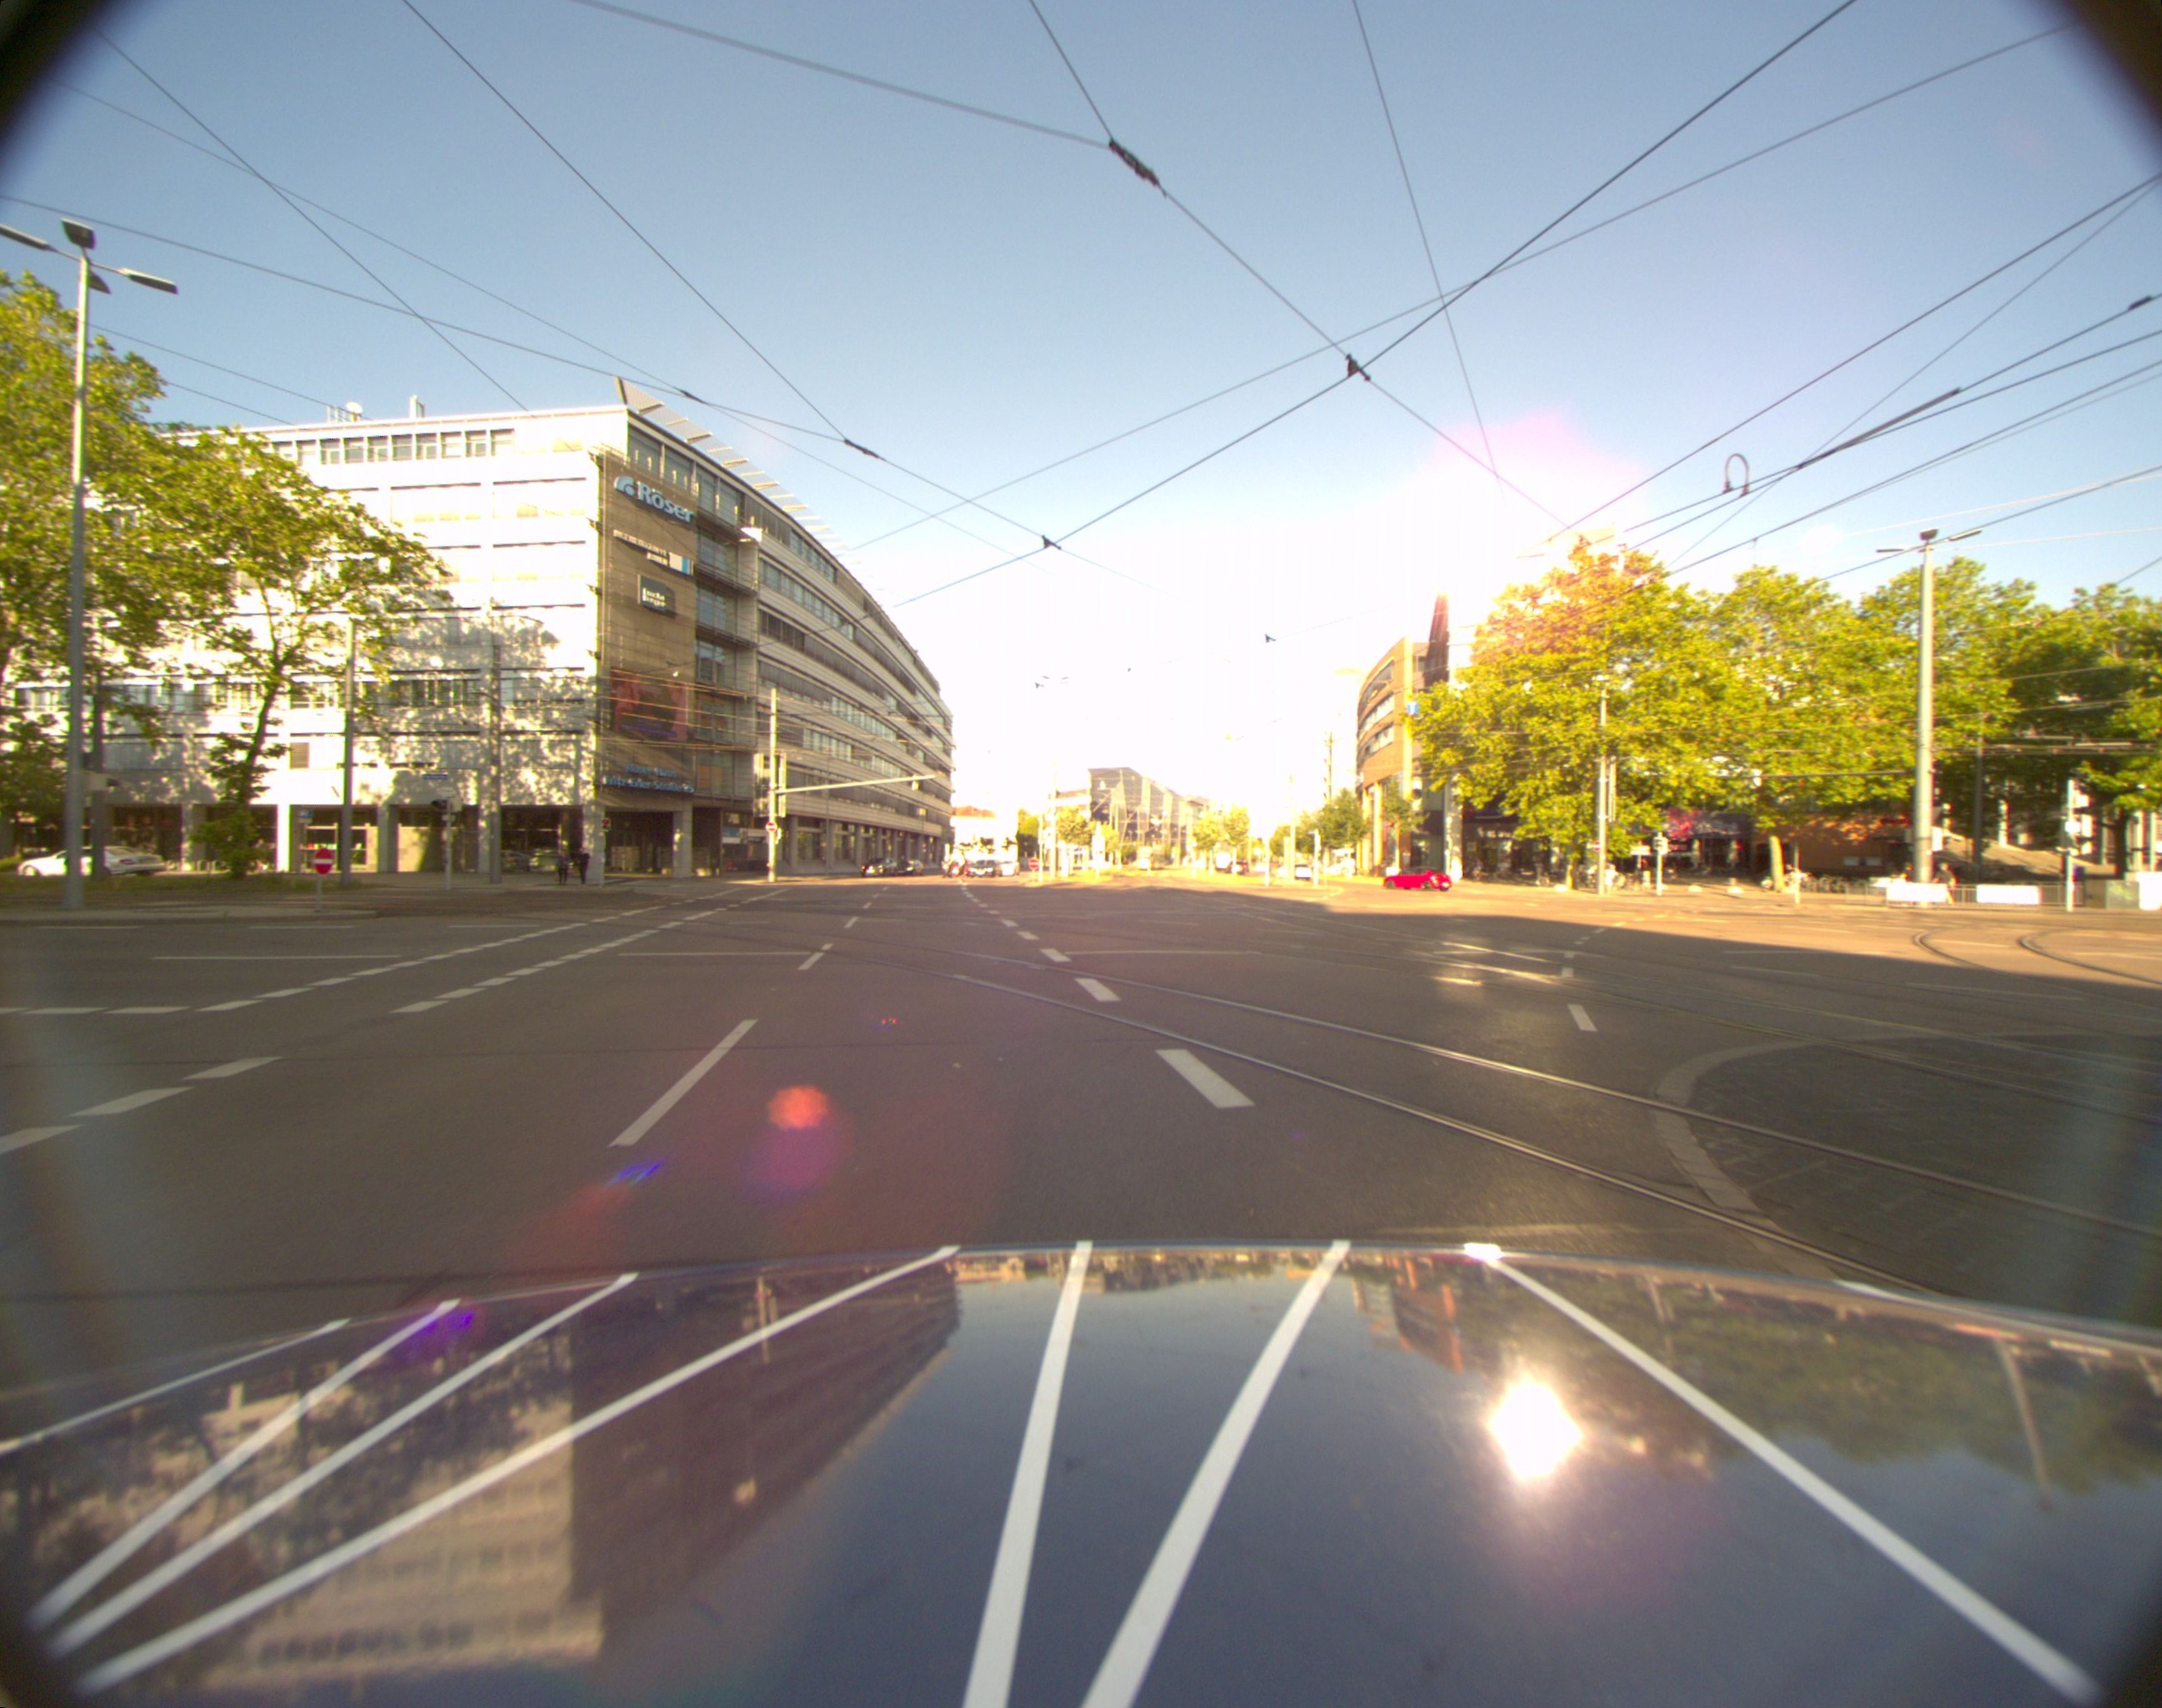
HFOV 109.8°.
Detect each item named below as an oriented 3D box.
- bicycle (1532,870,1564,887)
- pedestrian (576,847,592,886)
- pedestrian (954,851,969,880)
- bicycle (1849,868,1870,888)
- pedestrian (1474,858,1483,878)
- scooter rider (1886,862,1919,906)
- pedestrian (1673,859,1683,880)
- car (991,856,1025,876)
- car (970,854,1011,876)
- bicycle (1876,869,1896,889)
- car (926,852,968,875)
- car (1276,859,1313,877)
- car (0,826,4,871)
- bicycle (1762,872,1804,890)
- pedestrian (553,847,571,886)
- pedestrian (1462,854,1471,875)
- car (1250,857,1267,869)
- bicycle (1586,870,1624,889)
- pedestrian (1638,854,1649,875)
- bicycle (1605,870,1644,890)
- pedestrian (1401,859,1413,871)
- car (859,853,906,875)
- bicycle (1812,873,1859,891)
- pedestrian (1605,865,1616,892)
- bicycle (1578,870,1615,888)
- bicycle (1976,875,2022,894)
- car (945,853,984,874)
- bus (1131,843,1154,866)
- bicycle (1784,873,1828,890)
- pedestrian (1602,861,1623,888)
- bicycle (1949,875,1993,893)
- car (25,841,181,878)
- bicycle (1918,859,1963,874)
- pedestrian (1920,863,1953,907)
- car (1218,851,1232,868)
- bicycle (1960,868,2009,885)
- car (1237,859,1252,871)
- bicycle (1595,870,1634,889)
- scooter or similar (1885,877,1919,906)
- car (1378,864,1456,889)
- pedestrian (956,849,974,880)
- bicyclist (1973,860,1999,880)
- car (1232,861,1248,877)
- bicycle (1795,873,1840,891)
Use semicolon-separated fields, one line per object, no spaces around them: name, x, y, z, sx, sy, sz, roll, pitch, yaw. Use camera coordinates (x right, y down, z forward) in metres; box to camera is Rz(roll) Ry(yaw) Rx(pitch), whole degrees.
bicycle;31.016;1.623;50.483;1.697;1.030;0.549;1;0;3
pedestrian;-23.479;0.585;35.924;0.547;1.813;0.373;1;1;-20
pedestrian;-7.132;0.687;45.382;0.846;1.678;0.647;1;1;-11
bicycle;48.671;1.503;47.488;3.566;1.182;0.781;1;0;-42
pedestrian;33.517;1.149;64.102;0.594;1.647;0.594;1;1;21
scooter rider;34.834;1.250;32.226;0.588;1.822;0.764;1;1;8
pedestrian;47.488;1.253;60.428;0.542;1.659;0.572;1;1;32
car;-6.250;1.029;65.605;1.902;1.611;4.175;1;-1;8
car;-6.668;0.828;56.449;1.902;1.611;4.528;1;-1;8
bicycle;49.690;1.506;46.894;3.566;1.182;0.781;1;0;-42
car;-9.935;0.730;56.548;1.902;1.611;3.869;1;-1;8
car;17.697;1.132;63.019;1.635;1.443;3.998;1;-1;-5
car;-50.031;-0.273;32.623;4.384;2.002;1.999;1;0;-5
bicycle;45.553;1.753;49.313;1.944;1.057;0.784;1;0;4
pedestrian;-24.310;0.591;35.586;0.590;1.813;0.543;1;1;-20
pedestrian;32.746;0.907;64.509;0.591;1.745;0.596;1;1;34
car;26.828;1.349;114.916;1.863;1.622;4.265;1;0;5
bicycle;33.220;1.615;48.180;1.842;1.123;0.775;1;1;-1
pedestrian;45.193;0.847;61.063;0.569;1.659;0.544;1;1;18
bicycle;33.239;1.586;46.485;1.842;1.123;0.775;1;1;-1
pedestrian;30.280;1.021;70.603;0.777;1.075;0.681;1;0;-8
car;-14.754;0.754;56.809;1.902;1.611;4.175;1;-1;8
bicycle;45.898;1.705;46.231;1.944;1.057;0.784;1;0;4
pedestrian;30.404;1.386;43.643;0.483;1.529;0.574;1;1;38
bicycle;33.230;1.631;49.010;1.842;1.123;0.775;1;1;-1
bicycle;54.906;1.816;45.461;1.944;1.057;0.578;1;0;4
car;-9.259;0.747;60.621;1.902;1.611;4.175;1;-1;8
bus;9.543;0.211;118.321;2.725;3.387;9.669;1;-1;0
bicycle;45.869;1.738;48.075;1.944;1.057;0.784;1;0;4
pedestrian;34.456;1.326;49.253;0.892;1.754;0.732;1;-1;8
bicycle;55.120;1.846;47.058;1.944;1.057;0.578;1;0;4
car;-43.115;0.252;33.578;4.323;1.543;1.859;1;0;-3
bicycle;61.707;0.892;54.556;2.010;1.061;0.697;1;1;23
pedestrian;35.519;1.283;31.553;0.671;1.785;0.570;1;1;21
car;21.686;0.882;114.599;1.997;2.465;5.980;1;-1;10
bicycle;62.043;1.548;52.188;2.009;1.061;0.697;1;1;30
car;23.642;1.575;109.949;1.862;1.622;4.269;1;-1;15
bicycle;33.230;1.601;47.333;1.842;1.123;0.775;1;1;-1
scooter or similar;34.753;1.571;32.181;0.454;1.172;1.161;1;0;17
car;20.013;1.315;45.395;1.696;1.419;3.989;1;-1;-35
pedestrian;-6.825;0.622;44.697;0.967;1.832;0.698;1;1;-12
bicyclist;62.119;1.083;52.152;0.956;1.336;0.676;1;1;30
car;17.607;1.662;84.386;1.616;1.593;4.180;3;-1;11
bicycle;45.775;1.721;47.235;1.944;1.057;0.784;1;0;4
